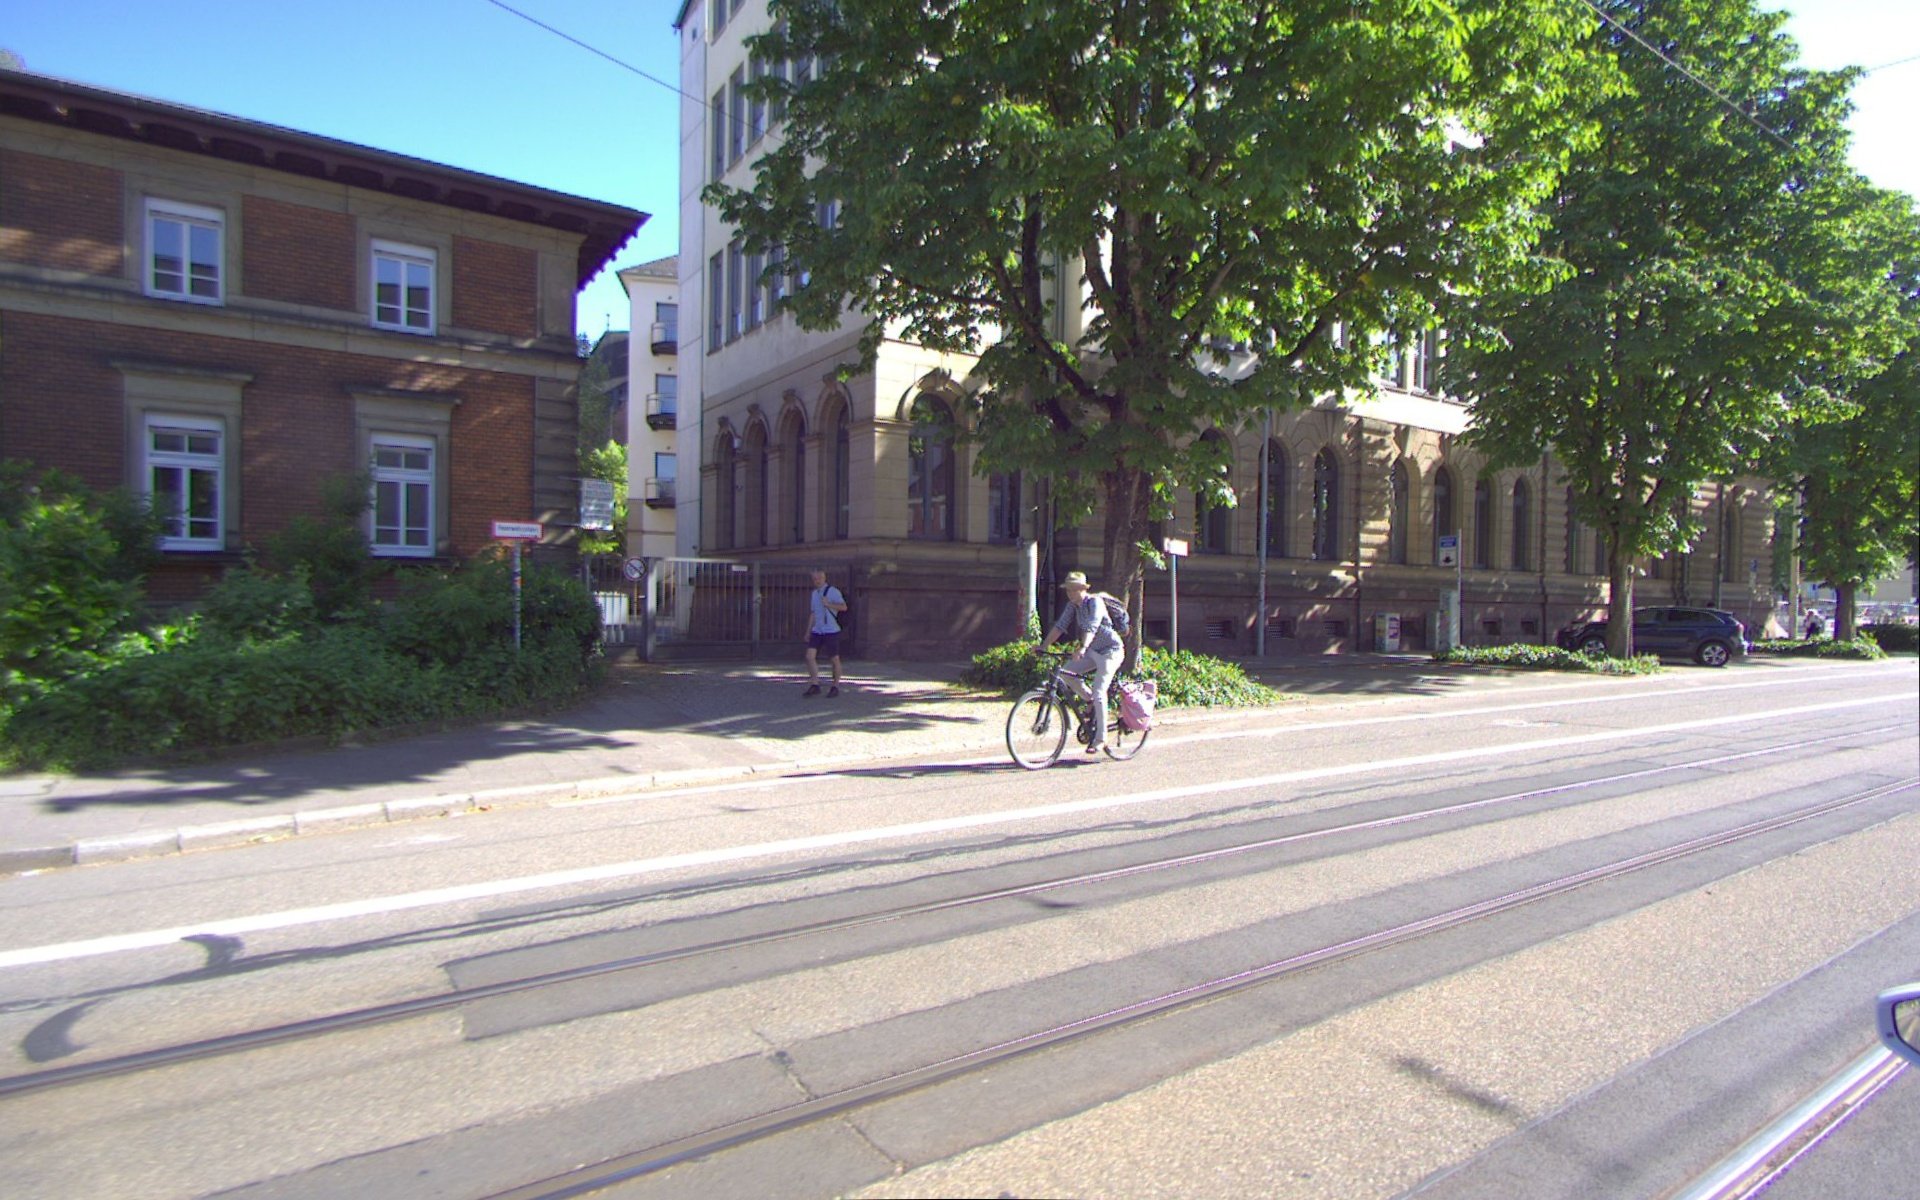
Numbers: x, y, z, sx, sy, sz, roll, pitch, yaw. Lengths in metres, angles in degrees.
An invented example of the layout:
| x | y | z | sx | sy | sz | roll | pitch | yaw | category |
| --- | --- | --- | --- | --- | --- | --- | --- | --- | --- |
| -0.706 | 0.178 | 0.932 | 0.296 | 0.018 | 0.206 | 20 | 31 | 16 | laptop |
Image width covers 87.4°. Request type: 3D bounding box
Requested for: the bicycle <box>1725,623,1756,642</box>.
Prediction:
| x | y | z | sx | sy | sz | roll | pitch | yaw | category |
| --- | --- | --- | --- | --- | --- | --- | --- | --- | --- |
| 31.449 | 1.296 | 40.483 | 1.602 | 0.734 | 0.478 | 1 | 0 | -33 | bicycle |

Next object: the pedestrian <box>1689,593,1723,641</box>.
| x | y | z | sx | sy | sz | roll | pitch | yaw | category |
| --- | --- | --- | --- | --- | --- | --- | --- | --- | --- |
| 26.857 | 0.596 | 36.159 | 0.751 | 1.657 | 0.696 | 0 | 3 | -34 | pedestrian |

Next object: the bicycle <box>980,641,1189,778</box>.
| x | y | z | sx | sy | sz | roll | pitch | yaw | category |
| --- | --- | --- | --- | --- | --- | --- | --- | --- | --- |
| 1.179 | 0.968 | 9.351 | 1.908 | 1.139 | 0.683 | 0 | -1 | -30 | bicycle |

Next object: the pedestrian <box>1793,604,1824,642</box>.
| x | y | z | sx | sy | sz | roll | pitch | yaw | category |
| --- | --- | --- | --- | --- | --- | --- | --- | --- | --- |
| 35.460 | 0.949 | 41.978 | 0.908 | 1.524 | 0.703 | 1 | 1 | 35 | pedestrian |

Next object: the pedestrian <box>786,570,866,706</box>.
| x | y | z | sx | sy | sz | roll | pitch | yaw | category |
| --- | --- | --- | --- | --- | --- | --- | --- | --- | --- |
| -1.885 | 0.509 | 14.135 | 0.720 | 1.821 | 0.777 | 4 | 3 | 36 | pedestrian |

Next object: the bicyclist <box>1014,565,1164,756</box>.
| x | y | z | sx | sy | sz | roll | pitch | yaw | category |
| --- | --- | --- | --- | --- | --- | --- | --- | --- | --- |
| 1.200 | 0.537 | 9.371 | 1.222 | 1.666 | 0.683 | 0 | -1 | -30 | bicyclist |

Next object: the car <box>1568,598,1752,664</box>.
| x | y | z | sx | sy | sz | roll | pitch | yaw | category |
| --- | --- | --- | --- | --- | --- | --- | --- | --- | --- |
| 19.103 | 0.800 | 27.633 | 3.928 | 1.571 | 1.874 | 2 | 1 | 30 | car |
